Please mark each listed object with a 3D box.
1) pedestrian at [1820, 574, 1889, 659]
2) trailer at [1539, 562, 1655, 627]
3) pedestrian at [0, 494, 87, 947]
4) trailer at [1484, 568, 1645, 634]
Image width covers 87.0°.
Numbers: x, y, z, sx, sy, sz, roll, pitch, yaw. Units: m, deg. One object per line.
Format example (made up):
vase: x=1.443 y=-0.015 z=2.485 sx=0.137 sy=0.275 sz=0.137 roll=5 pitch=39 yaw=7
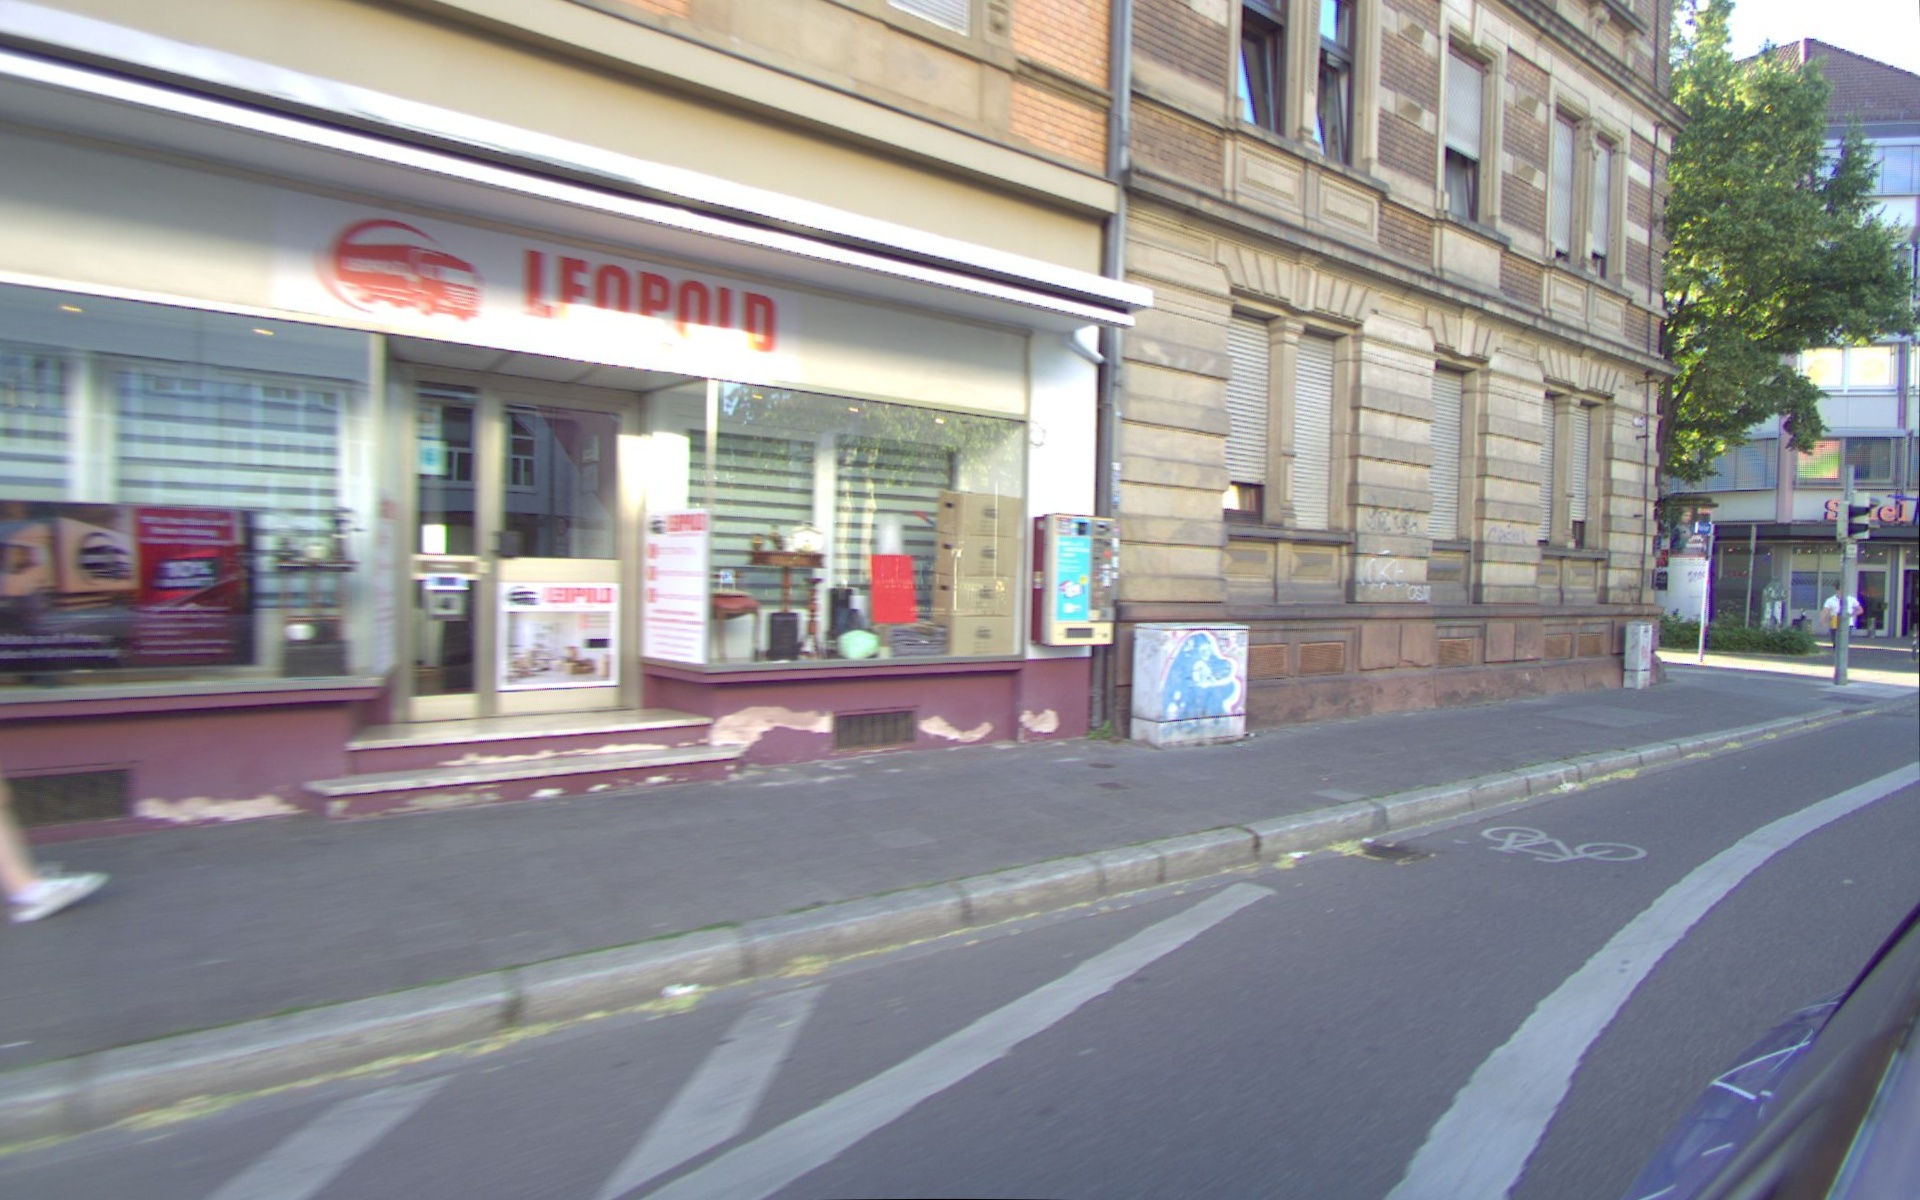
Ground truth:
pedestrian: x=18.370 y=0.328 z=20.783 sx=1.013 sy=1.687 sz=0.786 roll=2 pitch=0 yaw=-34
trailer: x=20.025 y=-0.205 z=31.822 sx=3.119 sy=1.906 sz=1.584 roll=0 pitch=3 yaw=-25
pedestrian: x=-3.837 y=0.399 z=3.675 sx=0.896 sy=1.585 sz=0.779 roll=0 pitch=4 yaw=-32
trailer: x=17.335 y=-0.011 z=29.062 sx=3.850 sy=1.753 sz=1.978 roll=0 pitch=2 yaw=-21
